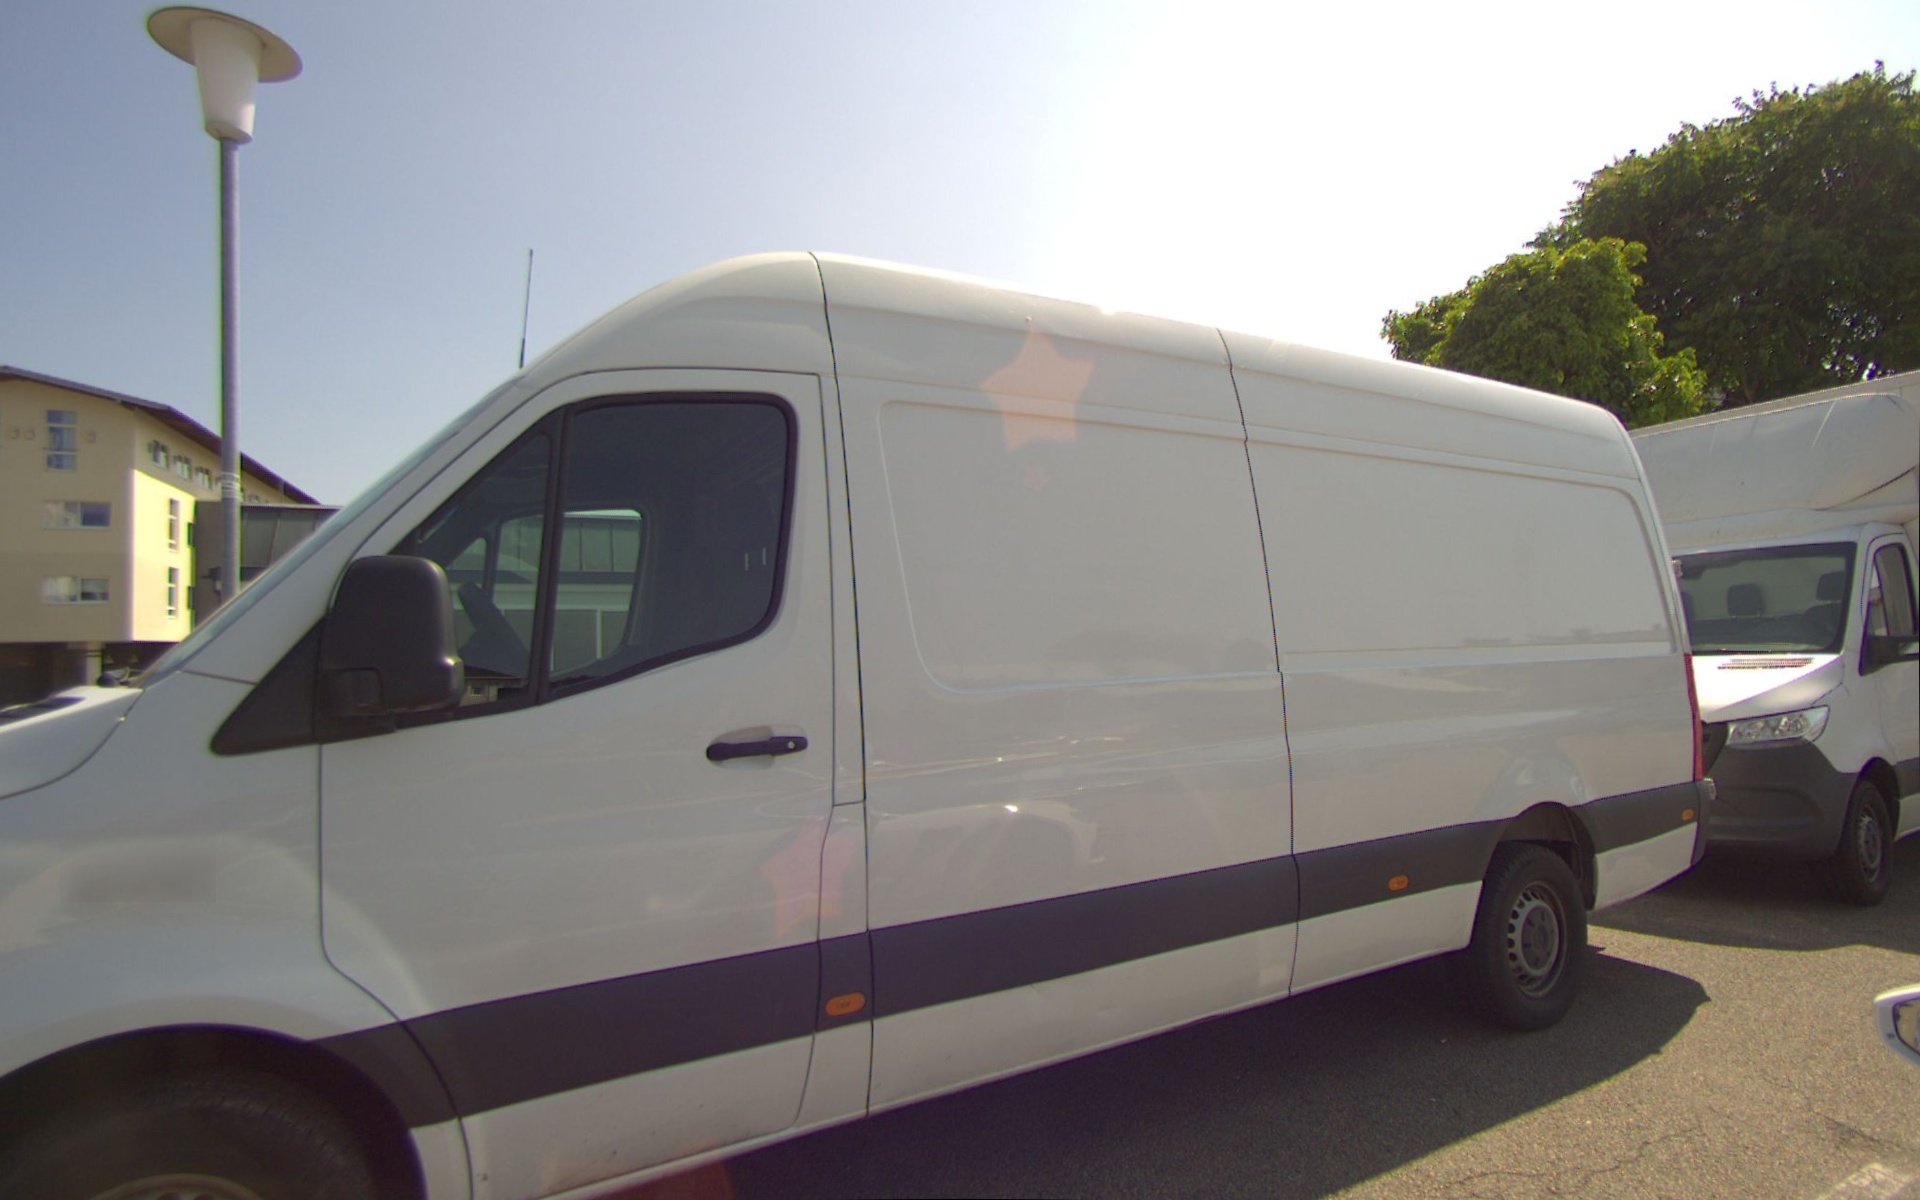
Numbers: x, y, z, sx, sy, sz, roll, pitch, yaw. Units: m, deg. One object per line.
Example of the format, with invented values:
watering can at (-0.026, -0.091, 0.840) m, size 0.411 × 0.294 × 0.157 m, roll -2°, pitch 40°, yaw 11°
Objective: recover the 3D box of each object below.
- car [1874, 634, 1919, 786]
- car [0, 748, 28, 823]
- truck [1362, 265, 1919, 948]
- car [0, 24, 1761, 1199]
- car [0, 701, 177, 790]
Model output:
car at (11.930, 1.110, 10.806) m, size 4.256 × 1.541 × 1.735 m, roll 0°, pitch -3°, yaw -28°
car at (-29.888, 5.411, 28.315) m, size 4.854 × 2.047 × 1.991 m, roll -1°, pitch -4°, yaw -22°
truck at (6.653, 0.151, 8.016) m, size 7.050 × 3.410 × 2.672 m, roll 1°, pitch -4°, yaw -32°
car at (0.186, 0.490, 3.873) m, size 6.839 × 2.629 × 2.159 m, roll 1°, pitch -4°, yaw -31°
car at (-32.079, 5.152, 35.941) m, size 5.846 × 2.913 × 2.433 m, roll 1°, pitch -5°, yaw -22°
